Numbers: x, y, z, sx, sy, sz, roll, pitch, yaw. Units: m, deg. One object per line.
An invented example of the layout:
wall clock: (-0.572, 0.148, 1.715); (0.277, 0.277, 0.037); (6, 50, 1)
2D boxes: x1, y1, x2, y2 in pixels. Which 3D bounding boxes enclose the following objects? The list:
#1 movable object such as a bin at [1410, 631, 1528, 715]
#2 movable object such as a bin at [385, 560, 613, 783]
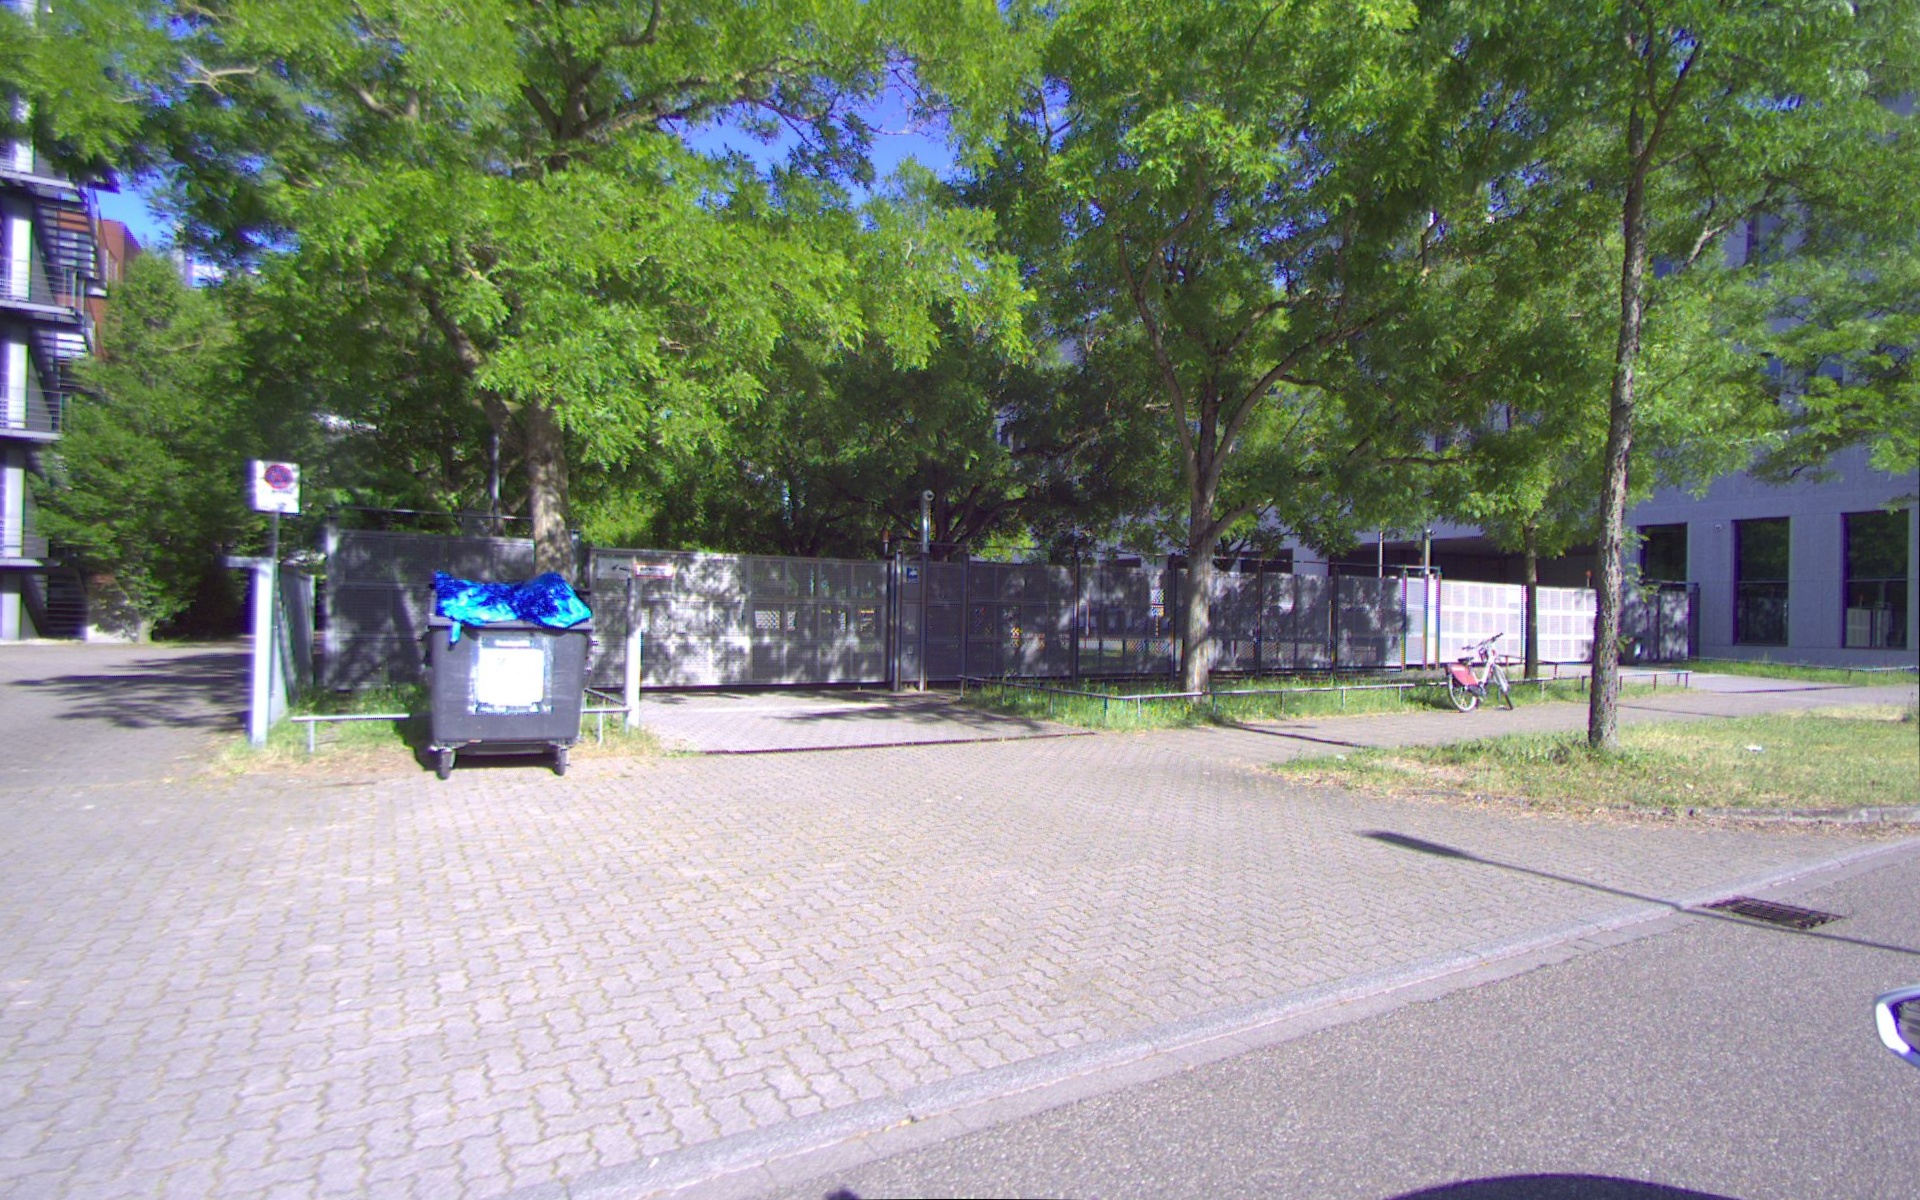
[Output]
movable object such as a bin: (7.729, 1.073, 15.225); (1.912, 1.197, 0.660); (1, -1, -30)
movable object such as a bin: (-3.822, 0.555, 8.379); (1.503, 1.618, 1.408); (4, 2, -26)
